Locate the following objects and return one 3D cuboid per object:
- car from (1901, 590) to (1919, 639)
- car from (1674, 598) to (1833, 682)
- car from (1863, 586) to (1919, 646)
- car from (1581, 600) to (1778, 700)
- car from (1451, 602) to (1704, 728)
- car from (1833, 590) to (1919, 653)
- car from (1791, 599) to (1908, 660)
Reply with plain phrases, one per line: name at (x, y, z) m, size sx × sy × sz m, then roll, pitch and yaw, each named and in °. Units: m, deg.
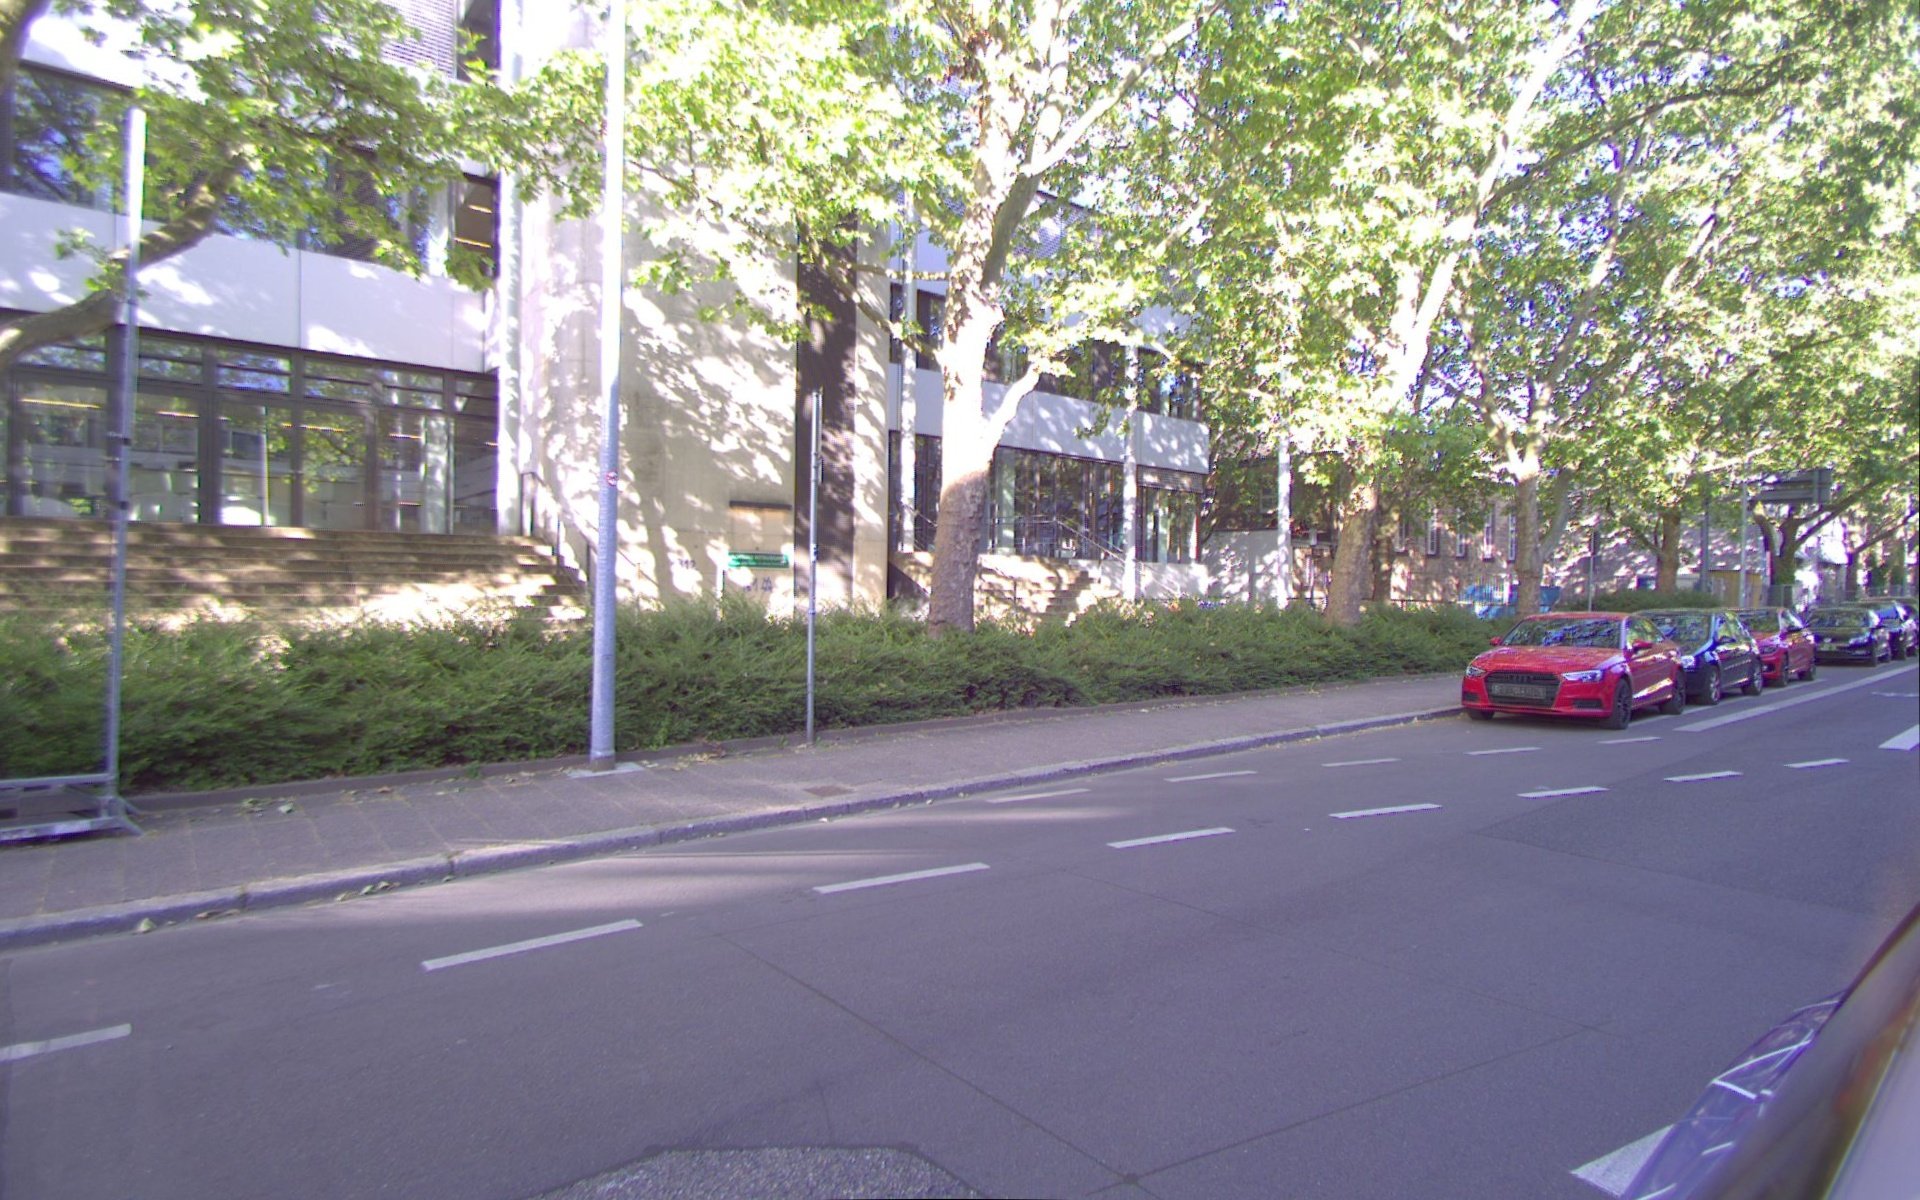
car at (36.201, 0.516, 37.275) m, size 4.370 × 1.750 × 1.753 m, roll 0°, pitch -1°, yaw -41°
car at (15.708, 0.721, 19.977) m, size 3.841 × 1.486 × 1.753 m, roll 0°, pitch -1°, yaw -41°
car at (30.977, 0.486, 32.979) m, size 4.370 × 1.843 × 1.753 m, roll 0°, pitch -1°, yaw -41°
car at (11.856, 0.739, 16.601) m, size 3.841 × 1.451 × 1.753 m, roll 0°, pitch -1°, yaw -41°
car at (8.285, 0.751, 13.451) m, size 3.930 × 1.427 × 1.753 m, roll 0°, pitch -1°, yaw -41°
car at (26.720, 0.586, 29.188) m, size 4.101 × 1.674 × 1.753 m, roll 0°, pitch -1°, yaw -41°
car at (22.953, 0.716, 26.076) m, size 3.841 × 1.451 × 1.753 m, roll 0°, pitch -1°, yaw -41°
